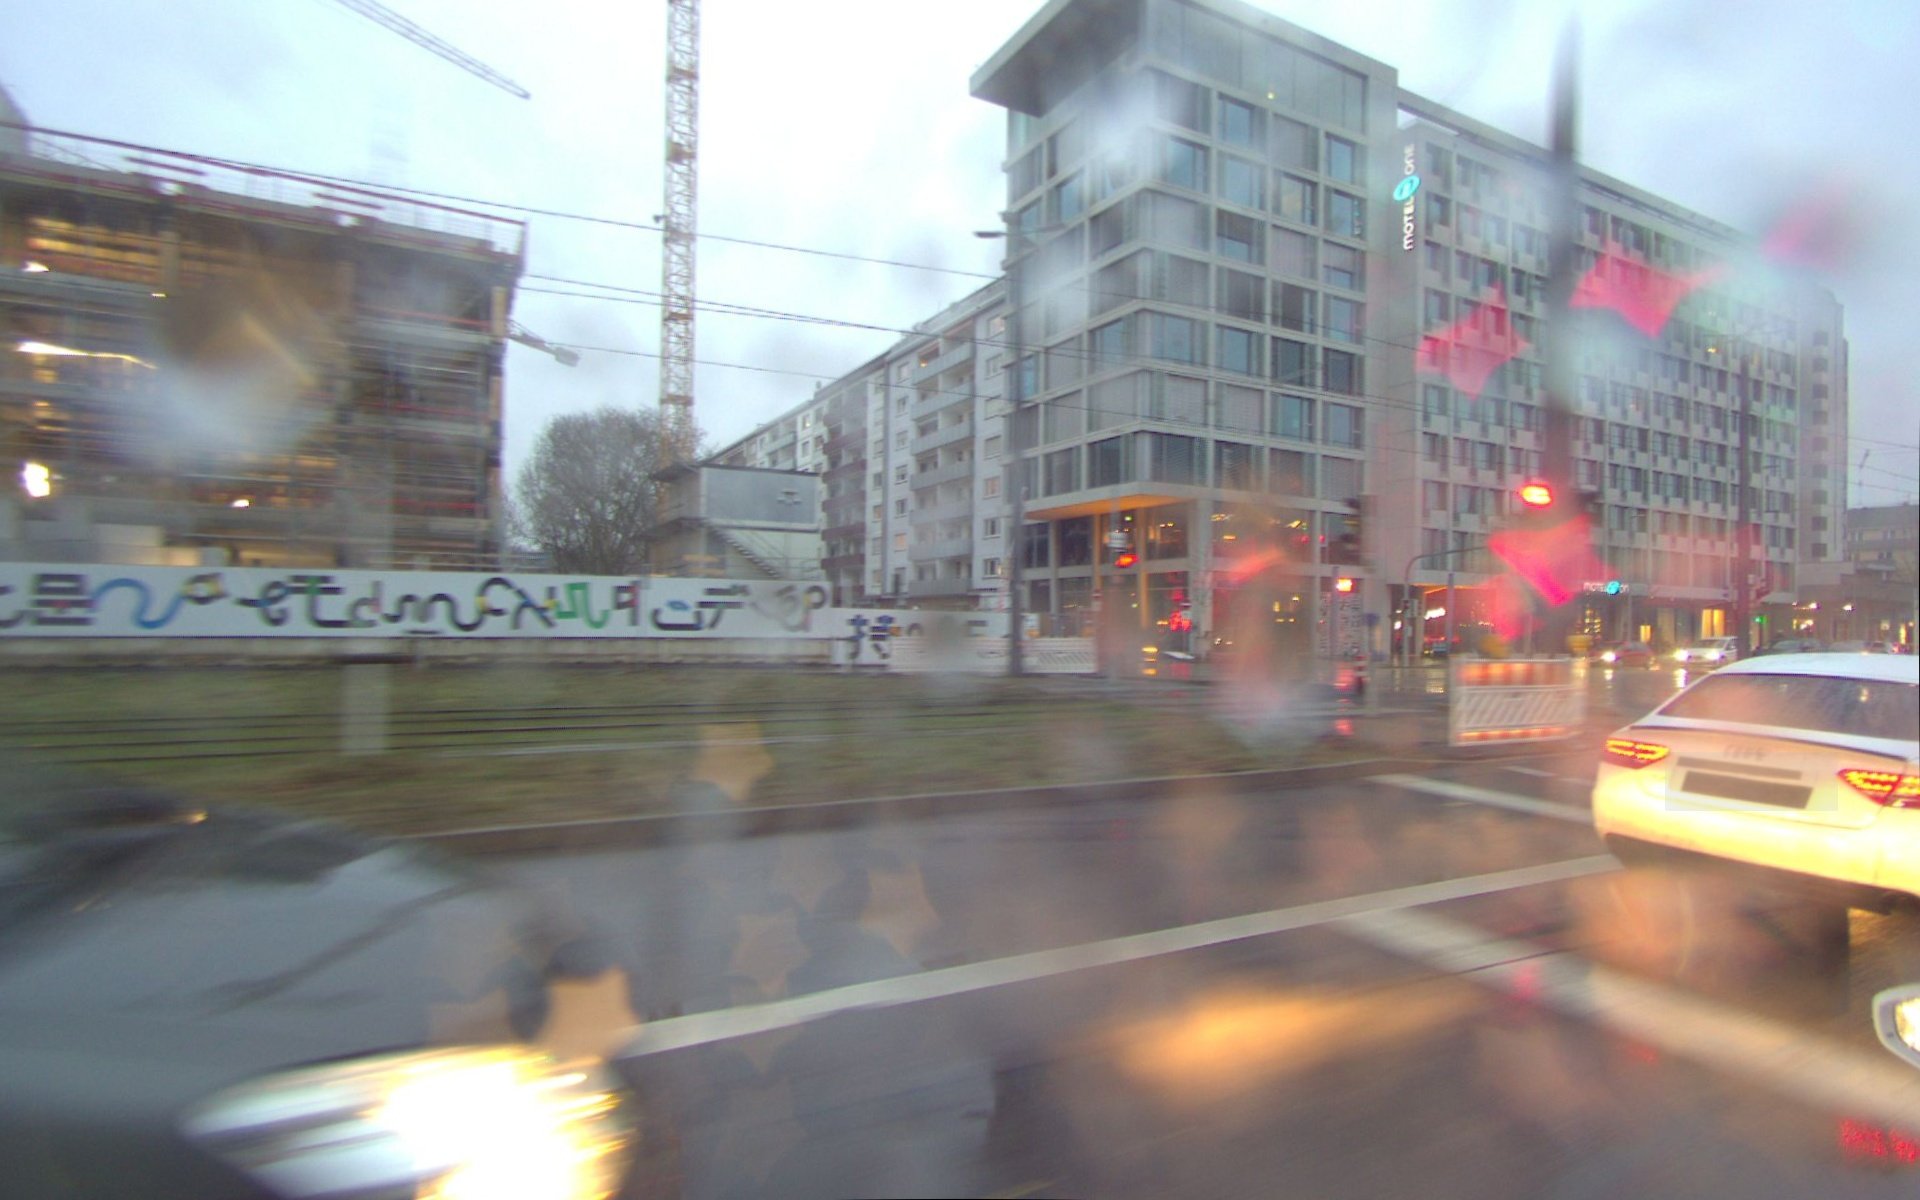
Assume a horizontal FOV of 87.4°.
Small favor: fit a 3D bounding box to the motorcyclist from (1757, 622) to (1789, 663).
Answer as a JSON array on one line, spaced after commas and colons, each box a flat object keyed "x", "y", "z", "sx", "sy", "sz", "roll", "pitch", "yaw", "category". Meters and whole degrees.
[{"x": 38.908, "y": 2.033, "z": 48.072, "sx": 1.021, "sy": 1.910, "sz": 0.867, "roll": 2, "pitch": 0, "yaw": -30, "category": "motorcyclist"}]

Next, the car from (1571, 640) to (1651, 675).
[{"x": 32.500, "y": 2.842, "z": 50.126, "sx": 3.956, "sy": 1.595, "sz": 1.871, "roll": 2, "pitch": 0, "yaw": -32, "category": "car"}]

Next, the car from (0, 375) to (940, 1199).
[{"x": -2.181, "y": 0.573, "z": 1.083, "sx": 3.953, "sy": 1.615, "sz": 1.751, "roll": 2, "pitch": 0, "yaw": -30, "category": "car"}]

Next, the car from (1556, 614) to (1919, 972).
[{"x": 5.562, "y": 0.896, "z": 5.960, "sx": 4.205, "sy": 1.489, "sz": 1.750, "roll": 2, "pitch": 0, "yaw": -32, "category": "car"}]

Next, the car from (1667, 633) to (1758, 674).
[{"x": 36.061, "y": 2.562, "z": 48.140, "sx": 4.545, "sy": 1.813, "sz": 1.872, "roll": 2, "pitch": 0, "yaw": -31, "category": "car"}]

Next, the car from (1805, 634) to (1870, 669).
[{"x": 42.188, "y": 2.435, "z": 48.259, "sx": 5.061, "sy": 1.481, "sz": 1.974, "roll": 2, "pitch": 0, "yaw": -44, "category": "car"}]

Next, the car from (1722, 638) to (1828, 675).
[{"x": 36.181, "y": 2.504, "z": 44.567, "sx": 5.035, "sy": 1.481, "sz": 1.984, "roll": 2, "pitch": 0, "yaw": -30, "category": "car"}]
